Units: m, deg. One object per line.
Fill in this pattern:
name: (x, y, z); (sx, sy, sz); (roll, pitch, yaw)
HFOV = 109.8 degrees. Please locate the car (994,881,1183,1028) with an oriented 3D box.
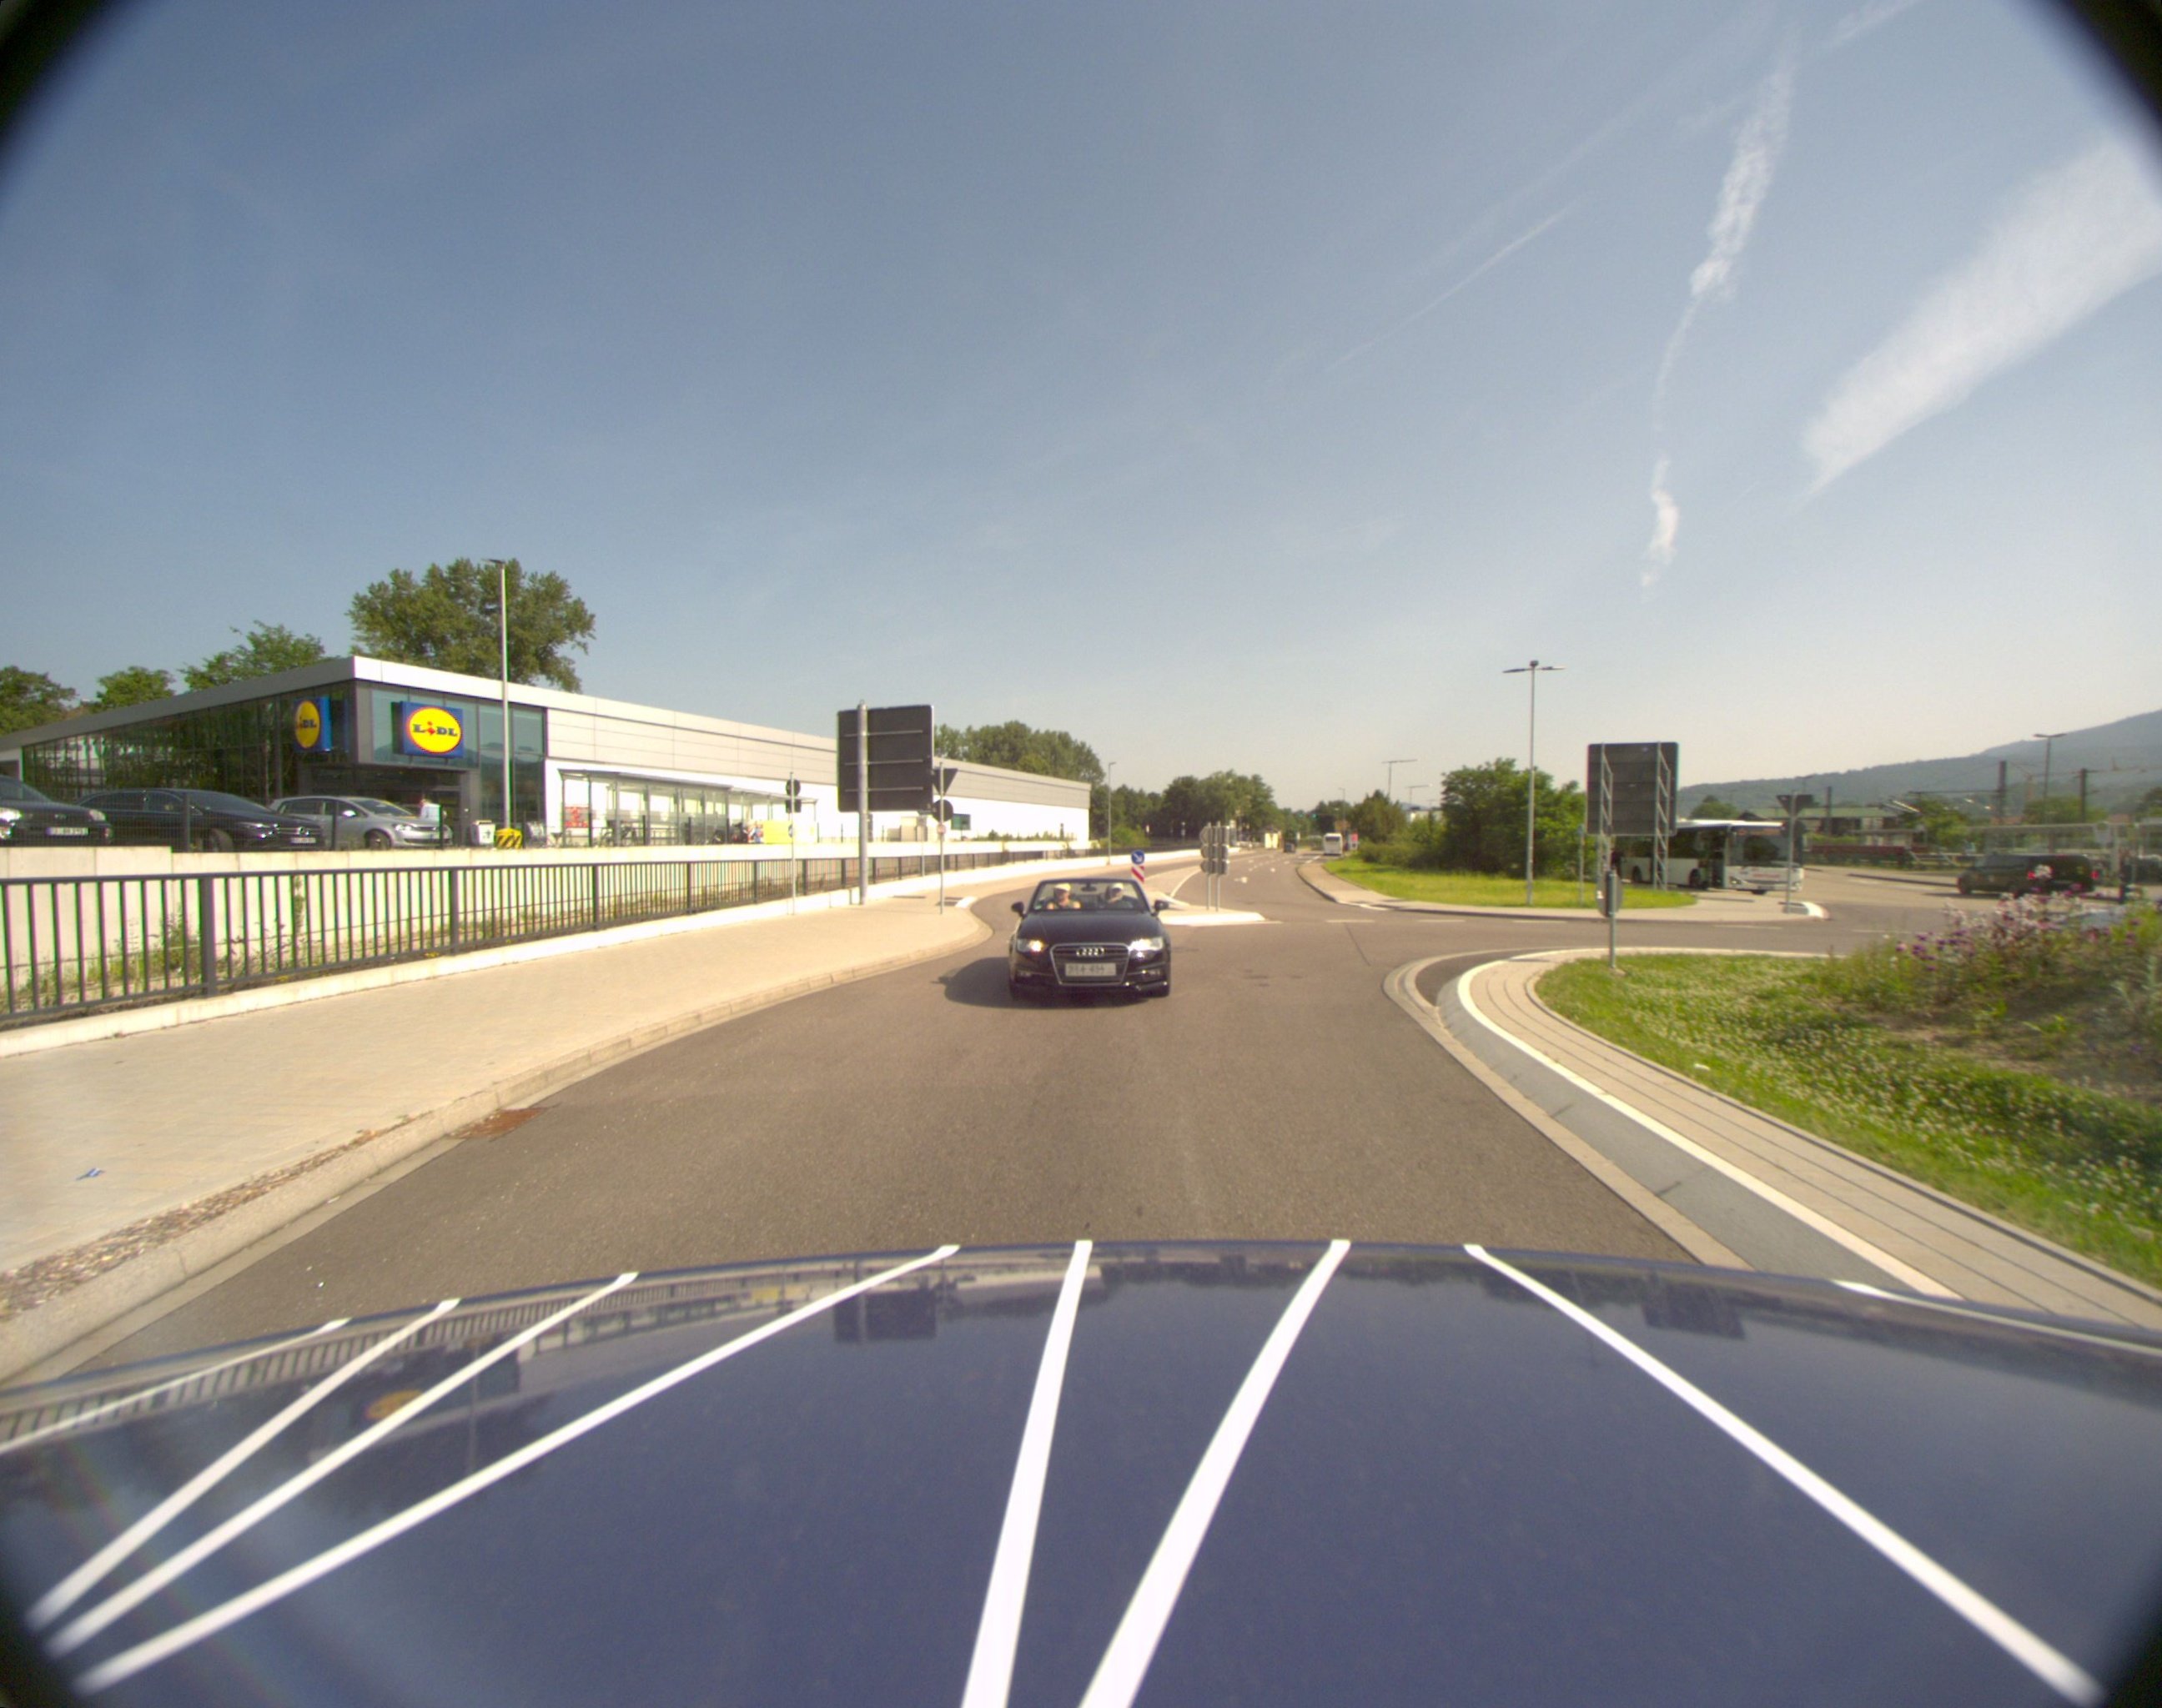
car: (0.103, 1.073, 9.656); (1.869, 1.322, 4.232); (0, 0, 1)

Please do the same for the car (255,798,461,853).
car: (-18.872, -0.728, 19.948); (3.814, 1.356, 1.680); (0, 1, 2)

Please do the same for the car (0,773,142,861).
car: (-19.080, -0.612, 12.966); (4.015, 1.396, 1.725); (0, 1, 2)

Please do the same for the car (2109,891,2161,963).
car: (19.774, 1.311, 12.551); (1.395, 1.165, 3.235); (0, 1, -33)

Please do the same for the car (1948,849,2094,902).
car: (39.614, 0.826, 32.222); (1.841, 1.935, 4.889); (2, 2, 25)

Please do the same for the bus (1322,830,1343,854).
bus: (37.719, -1.850, 113.748); (2.623, 3.292, 11.971); (2, 2, 20)

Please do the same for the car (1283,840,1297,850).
car: (34.058, -1.434, 123.830); (1.774, 1.465, 4.225); (2, 2, 21)

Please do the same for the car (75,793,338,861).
car: (-18.897, -0.574, 16.523); (4.071, 1.396, 1.486); (0, 1, 2)

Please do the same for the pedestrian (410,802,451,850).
pedestrian: (-18.309, -0.788, 21.385); (0.548, 1.305, 0.657); (1, 2, 4)

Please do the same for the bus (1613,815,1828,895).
bus: (28.956, -0.054, 35.447); (3.068, 3.105, 11.734); (1, 1, 16)
